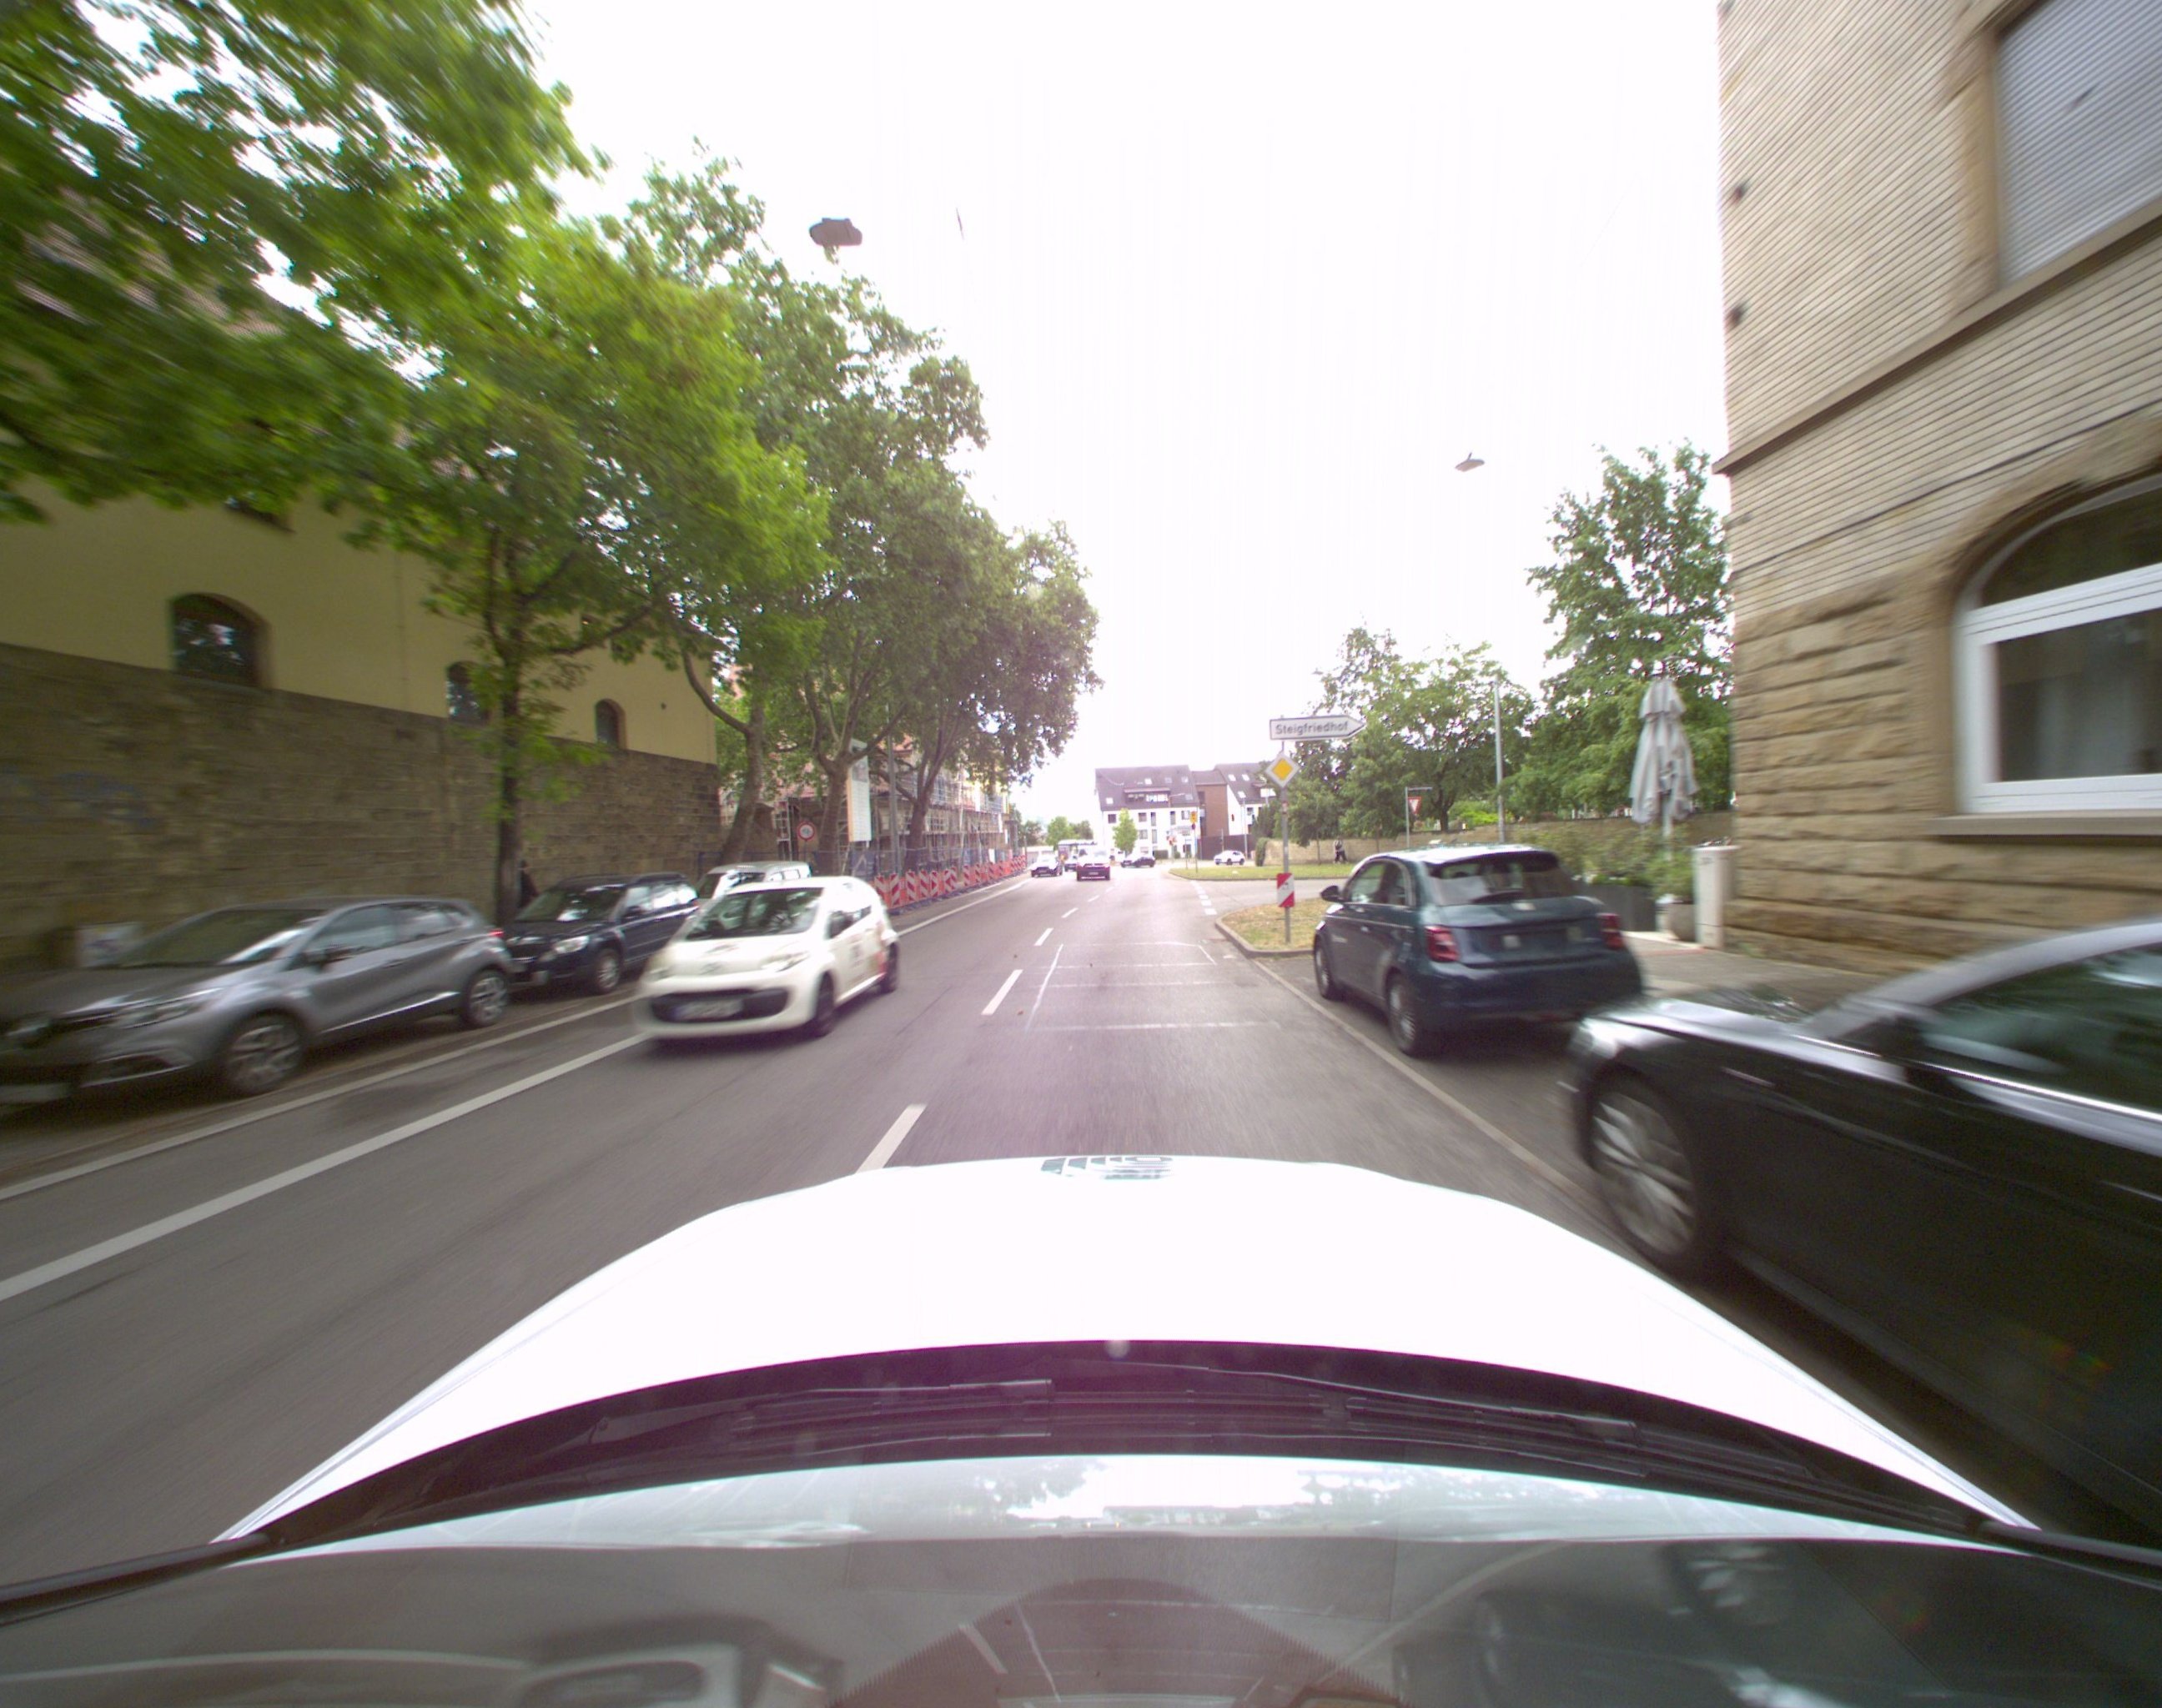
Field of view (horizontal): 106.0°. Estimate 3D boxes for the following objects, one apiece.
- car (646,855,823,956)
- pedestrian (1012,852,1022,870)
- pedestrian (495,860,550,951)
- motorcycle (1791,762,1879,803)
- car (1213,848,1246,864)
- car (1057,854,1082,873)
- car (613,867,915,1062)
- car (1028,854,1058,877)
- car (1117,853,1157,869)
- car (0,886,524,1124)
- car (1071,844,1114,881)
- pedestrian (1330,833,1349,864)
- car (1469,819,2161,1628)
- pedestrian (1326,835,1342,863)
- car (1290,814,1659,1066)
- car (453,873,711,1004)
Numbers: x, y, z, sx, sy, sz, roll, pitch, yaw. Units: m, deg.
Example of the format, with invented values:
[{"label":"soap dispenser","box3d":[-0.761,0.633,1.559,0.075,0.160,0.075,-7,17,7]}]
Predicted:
[{"label":"car","box3d":[-7.503,1.008,18.187,1.827,1.876,4.419,-3,0,2]},{"label":"pedestrian","box3d":[-6.297,0.687,80.043,0.918,1.720,0.799,-1,-1,4]},{"label":"pedestrian","box3d":[-11.394,1.031,16.622,0.590,1.799,0.743,-1,-1,2]},{"label":"motorcycle","box3d":[23.839,-2.253,25.774,1.977,1.169,0.563,-1,-1,15]},{"label":"car","box3d":[17.790,0.224,97.326,1.774,1.611,4.537,-3,0,42]},{"label":"car","box3d":[-0.924,0.779,68.556,1.795,1.458,4.637,-2,0,1]},{"label":"car","box3d":[-3.049,0.965,8.695,1.577,1.464,3.653,-5,0,2]},{"label":"car","box3d":[-2.594,0.767,56.064,1.693,1.426,4.251,-2,0,1]},{"label":"car","box3d":[5.628,0.663,81.707,1.683,1.426,4.276,-2,0,41]},{"label":"car","box3d":[-7.549,1.160,7.877,1.589,1.573,4.084,-1,-1,-2]},{"label":"car","box3d":[0.751,0.439,46.655,2.196,1.931,5.244,-2,0,3]},{"label":"pedestrian","box3d":[14.574,-0.306,45.952,0.714,1.734,0.654,-3,0,-31]},{"label":"car","box3d":[2.861,0.675,1.678,1.733,1.463,4.774,-4,0,0]},{"label":"pedestrian","box3d":[15.182,-0.301,48.887,0.583,1.585,0.570,-5,1,-27]},{"label":"car","box3d":[3.108,0.576,7.299,1.559,1.610,3.655,-3,0,2]},{"label":"car","box3d":[-7.420,1.144,12.642,1.504,1.631,4.113,-1,-1,-1]}]
